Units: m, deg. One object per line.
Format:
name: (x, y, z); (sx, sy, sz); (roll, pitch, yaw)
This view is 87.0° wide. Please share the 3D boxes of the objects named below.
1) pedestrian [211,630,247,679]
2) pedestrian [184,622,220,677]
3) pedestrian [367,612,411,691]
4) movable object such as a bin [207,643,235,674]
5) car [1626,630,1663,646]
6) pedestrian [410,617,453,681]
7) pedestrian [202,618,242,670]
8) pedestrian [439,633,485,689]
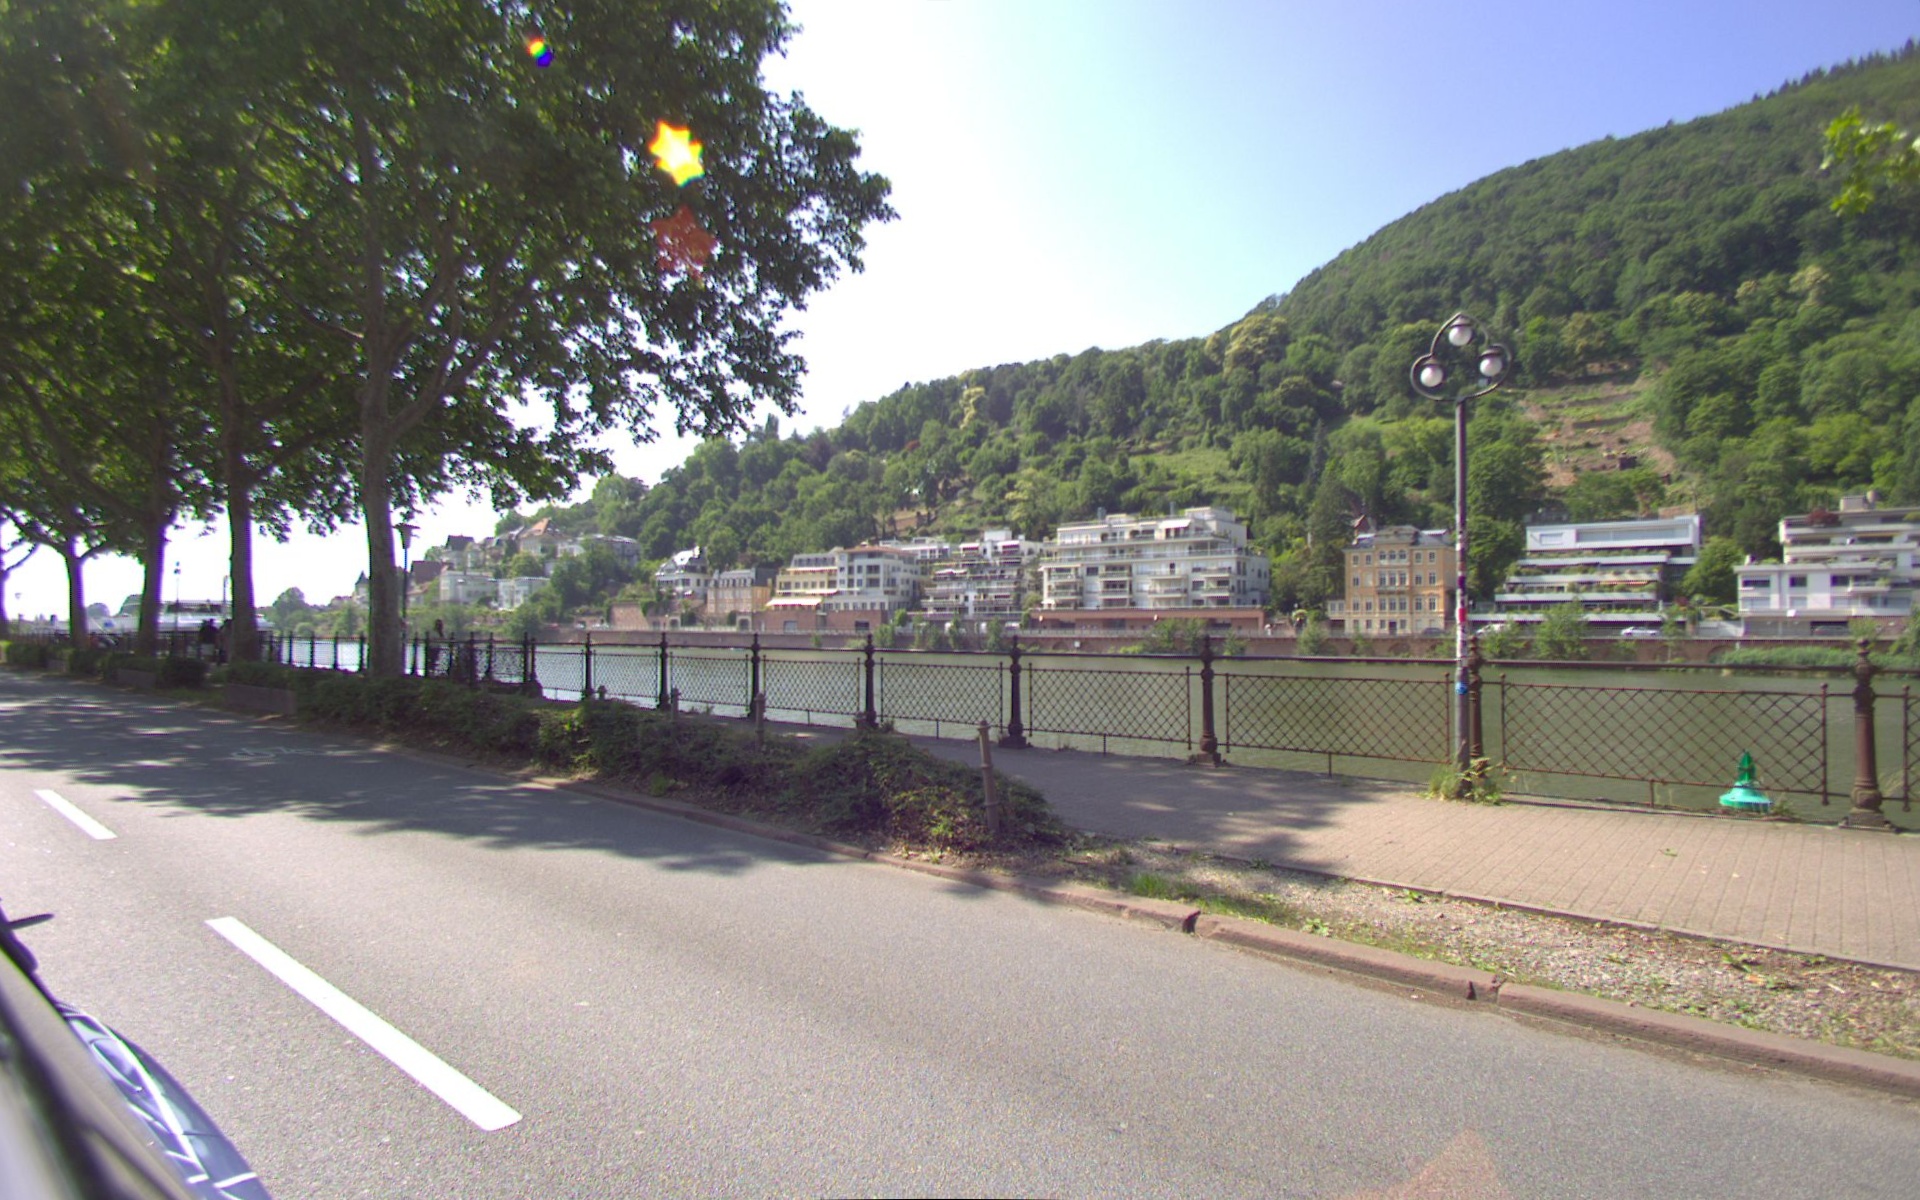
pedestrian: (-25.691, 1.906, 35.554); (0.885, 1.647, 1.060); (-1, 0, -44)
pedestrian: (-26.262, 1.702, 35.060); (0.928, 1.863, 0.796); (-1, 0, 41)
pedestrian: (-14.249, 1.275, 25.258); (0.756, 1.915, 0.771); (3, -4, -42)
movable object such as a bin: (-26.413, 2.080, 36.174); (0.783, 1.057, 0.694); (-1, 0, 44)
car: (93.394, 5.197, 138.133); (3.998, 2.029, 1.973); (-1, 0, 41)
pedestrian: (-15.116, 1.402, 28.949); (0.829, 1.771, 0.767); (-2, -4, 40)
pedestrian: (-29.445, 1.736, 40.404); (1.032, 2.029, 1.038); (-1, 0, -19)
pedestrian: (-12.651, 1.538, 25.721); (0.770, 1.398, 0.758); (-2, -3, 40)
